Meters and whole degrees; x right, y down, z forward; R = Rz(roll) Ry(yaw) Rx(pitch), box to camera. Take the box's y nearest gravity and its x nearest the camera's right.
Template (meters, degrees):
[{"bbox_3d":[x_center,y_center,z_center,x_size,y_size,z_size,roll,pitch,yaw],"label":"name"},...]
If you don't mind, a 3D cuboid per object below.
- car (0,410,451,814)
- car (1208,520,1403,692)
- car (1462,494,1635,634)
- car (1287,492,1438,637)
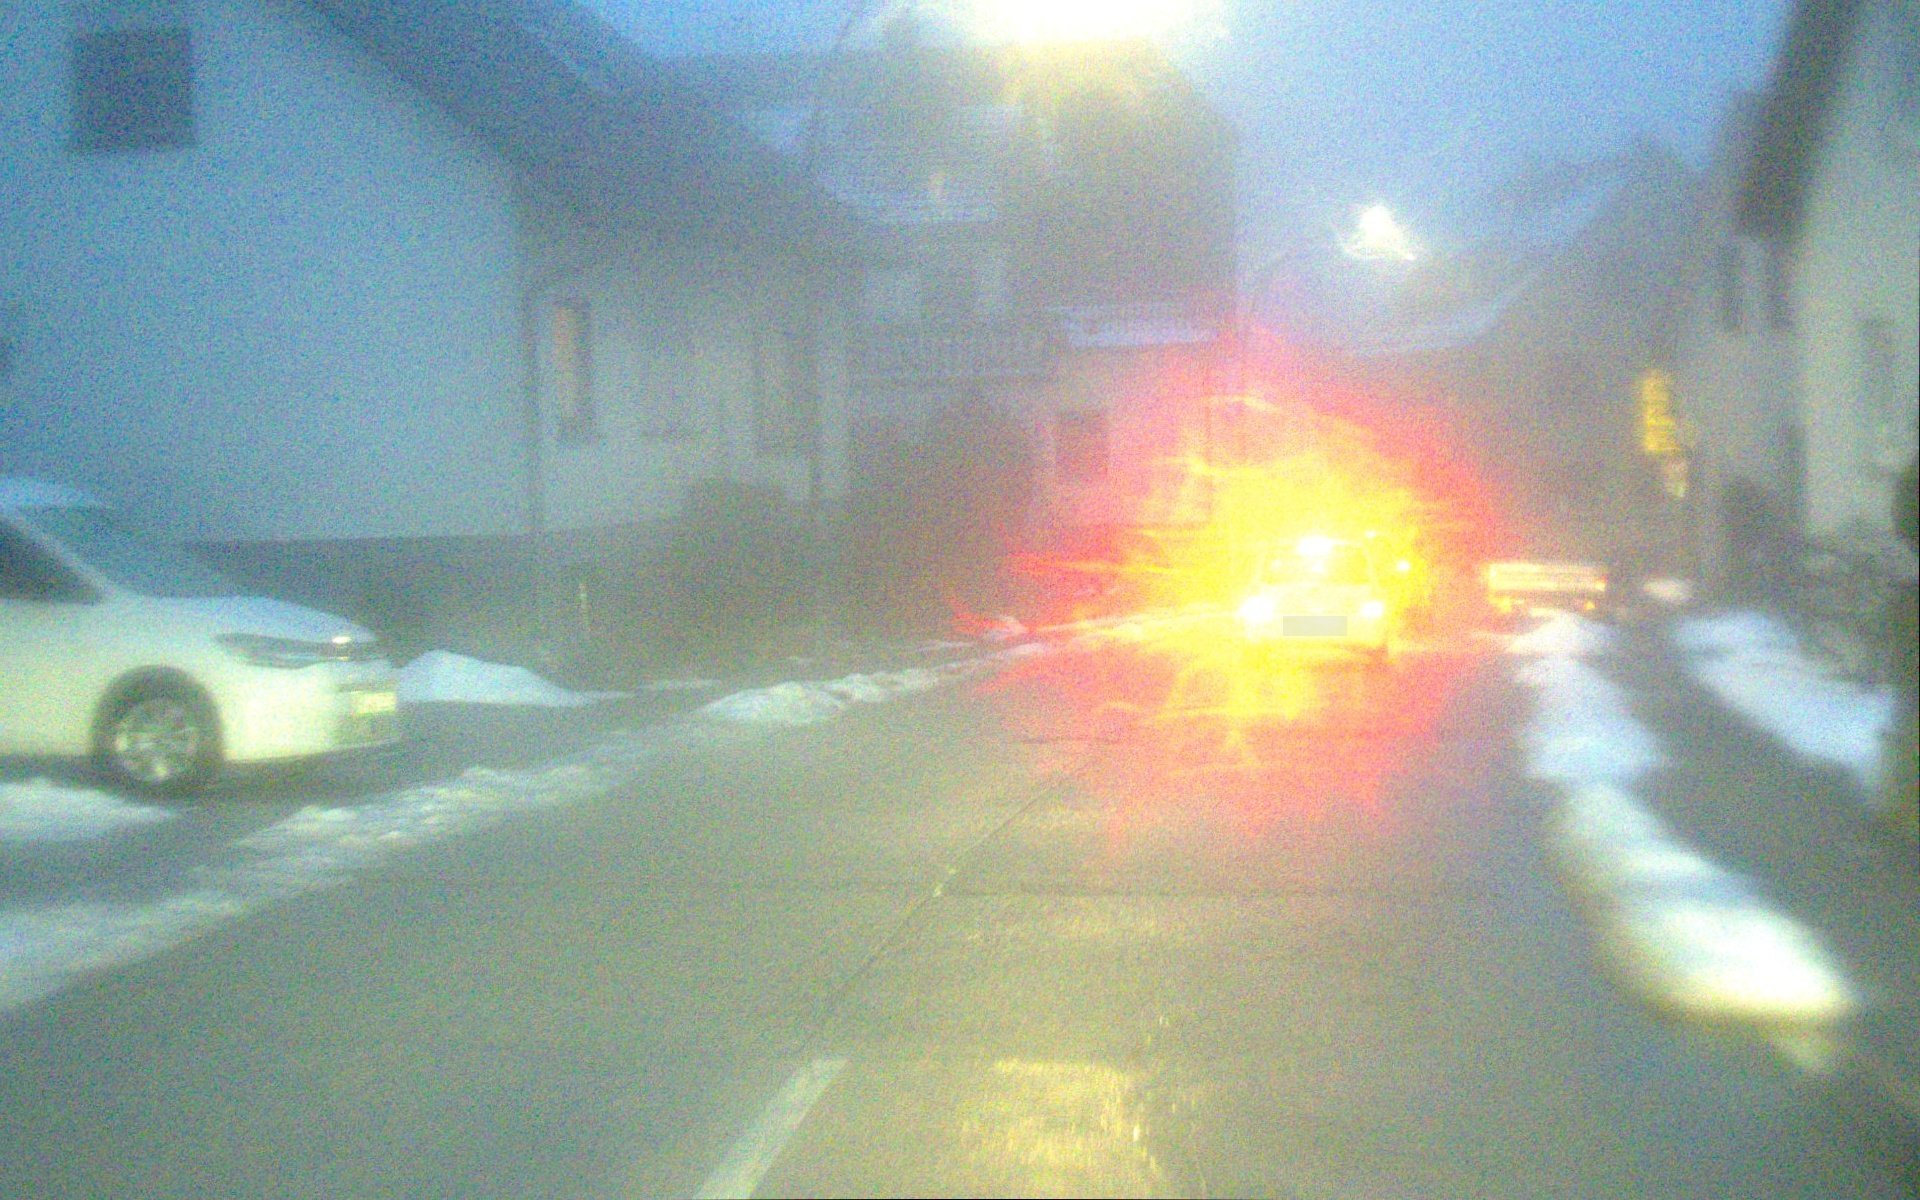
[{"bbox_3d":[-5.542,0.085,19.499,4.735,2.006,2.000,-2,4,13],"label":"car"},{"bbox_3d":[3.959,0.023,38.867,1.994,1.502,4.000,-3,5,8],"label":"car"},{"bbox_3d":[8.944,-0.589,51.932,2.252,1.634,4.848,-2,5,13],"label":"car"},{"bbox_3d":[6.233,-0.579,52.888,1.994,1.831,4.000,-3,5,10],"label":"car"}]
